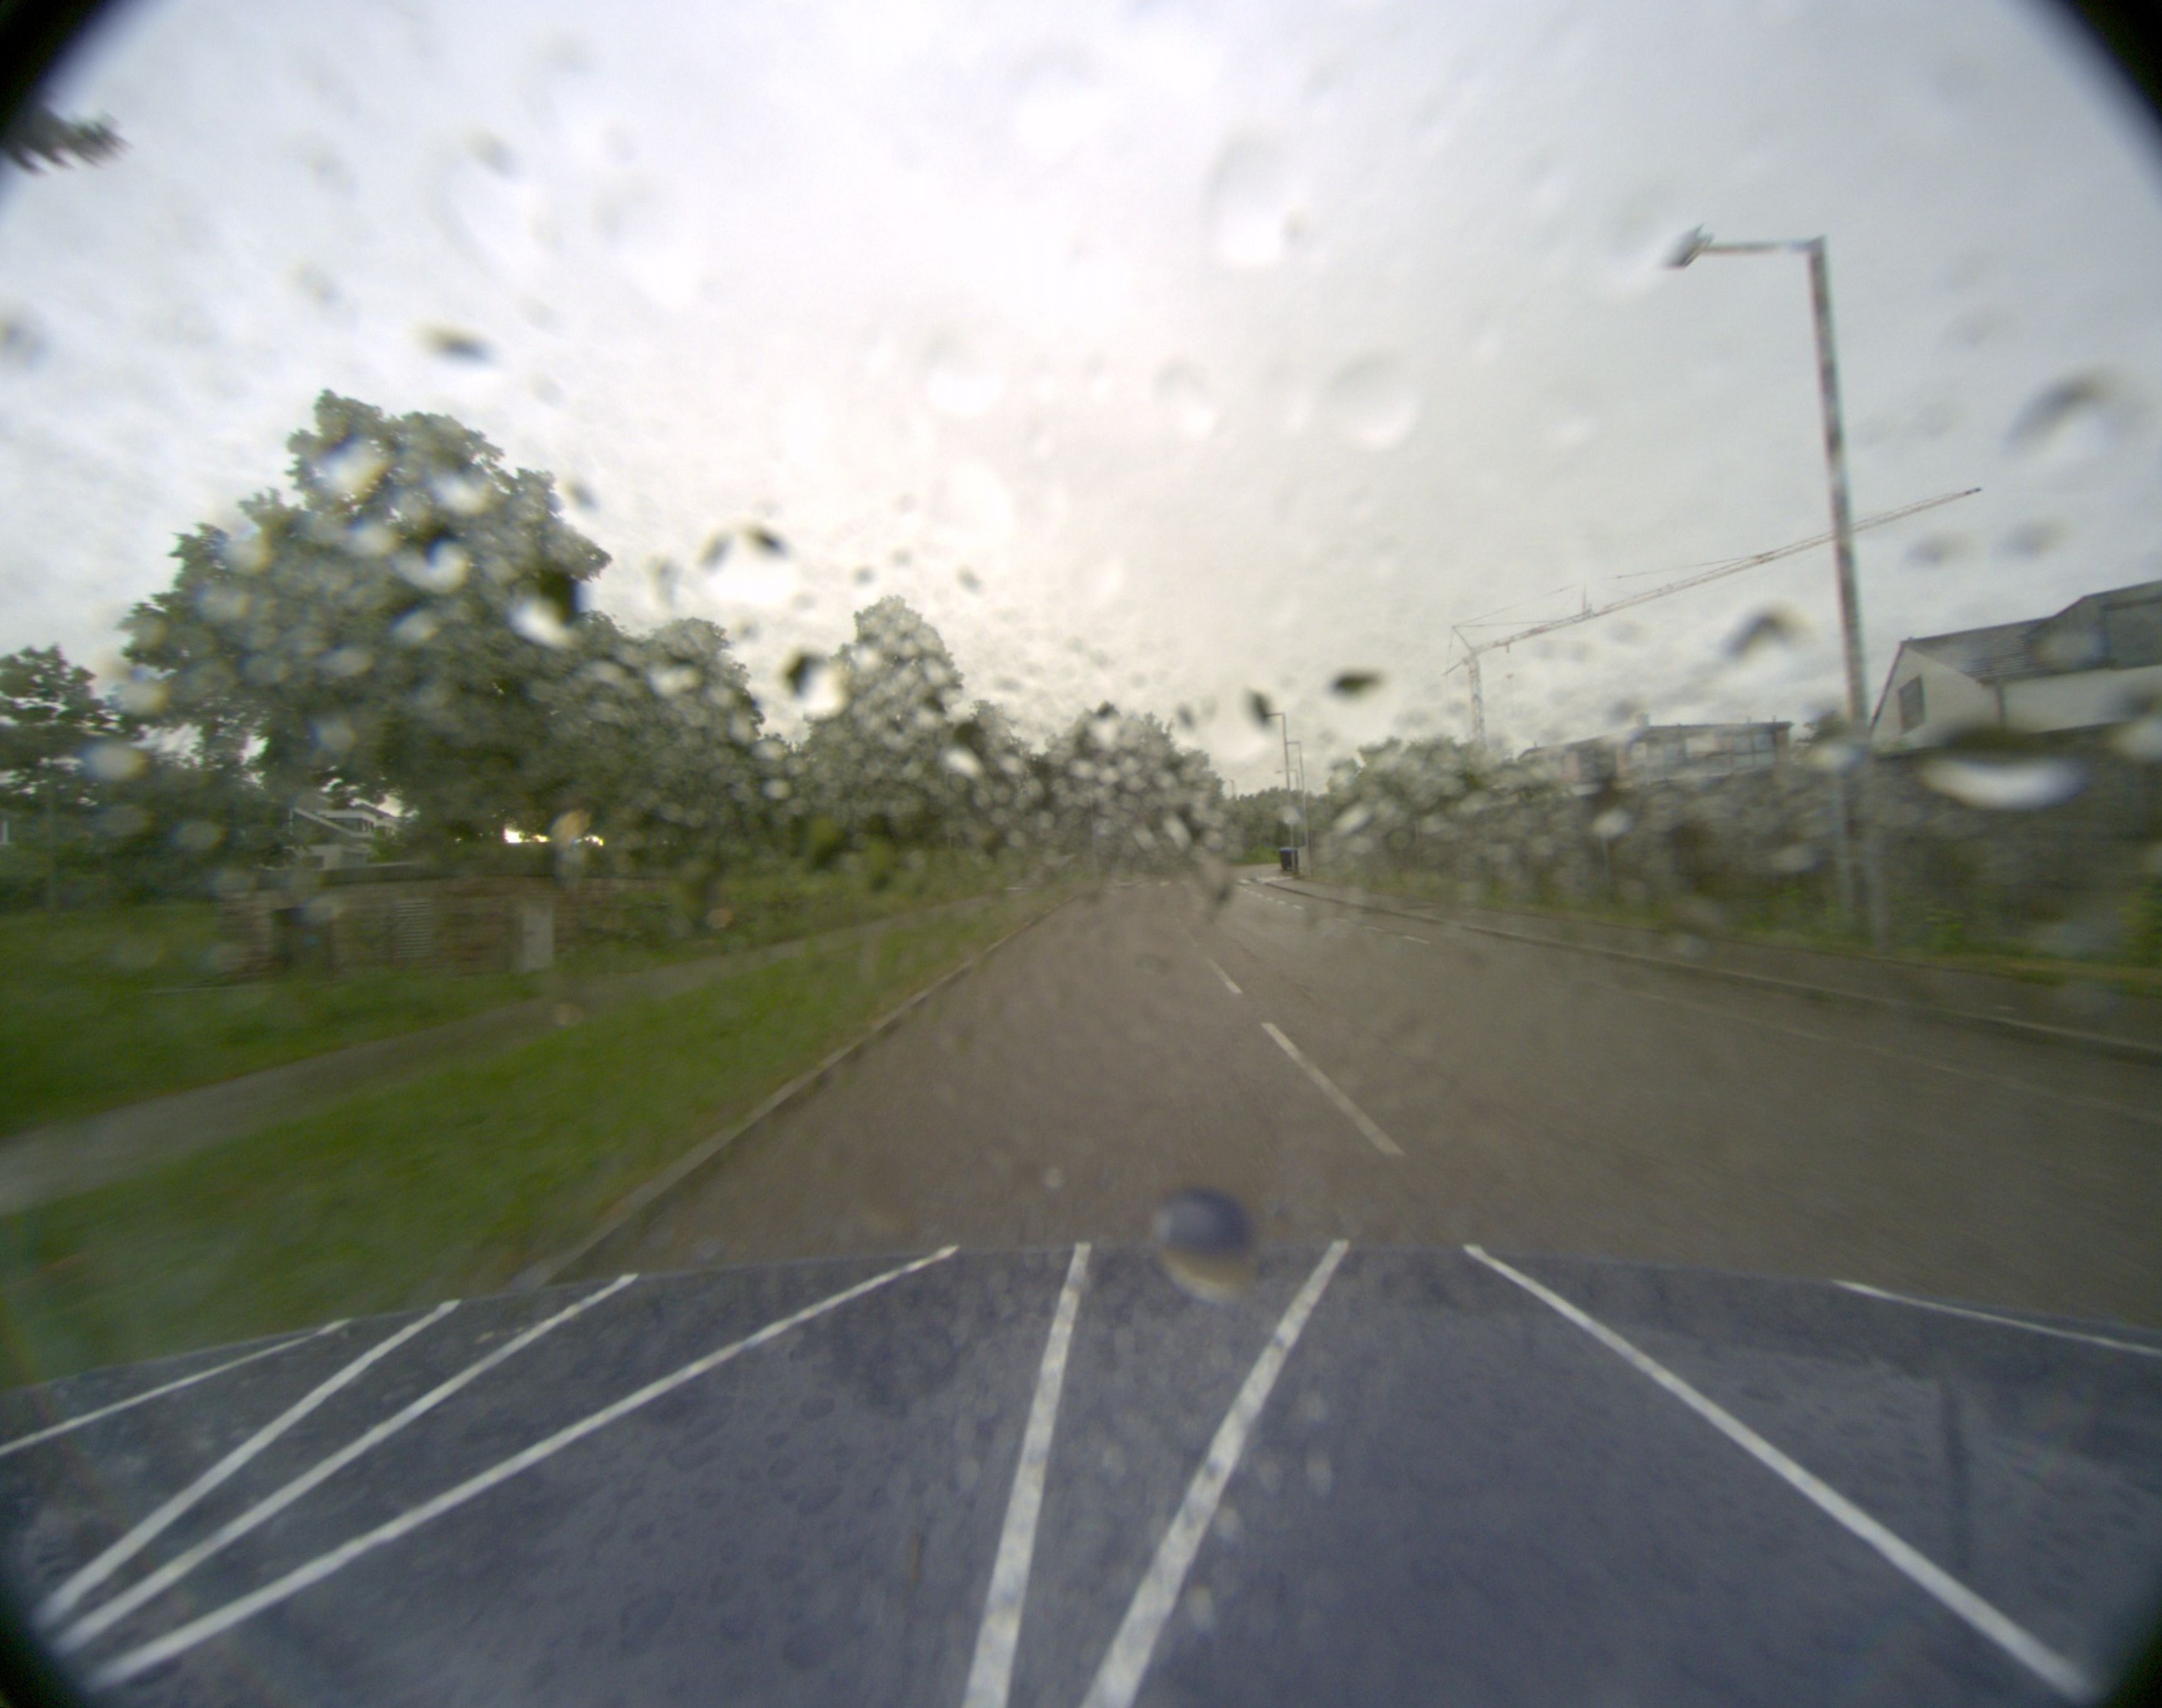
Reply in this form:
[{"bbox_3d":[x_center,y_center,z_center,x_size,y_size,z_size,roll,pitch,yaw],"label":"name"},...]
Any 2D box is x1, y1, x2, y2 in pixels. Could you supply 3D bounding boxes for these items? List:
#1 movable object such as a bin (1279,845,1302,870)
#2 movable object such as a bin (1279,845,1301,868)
[{"bbox_3d":[12.193,0.179,44.308,1.133,1.314,1.364,-7,-1,13],"label":"movable object such as a bin"},{"bbox_3d":[13.123,0.139,47.800,1.133,1.331,1.400,-6,-1,14],"label":"movable object such as a bin"}]
